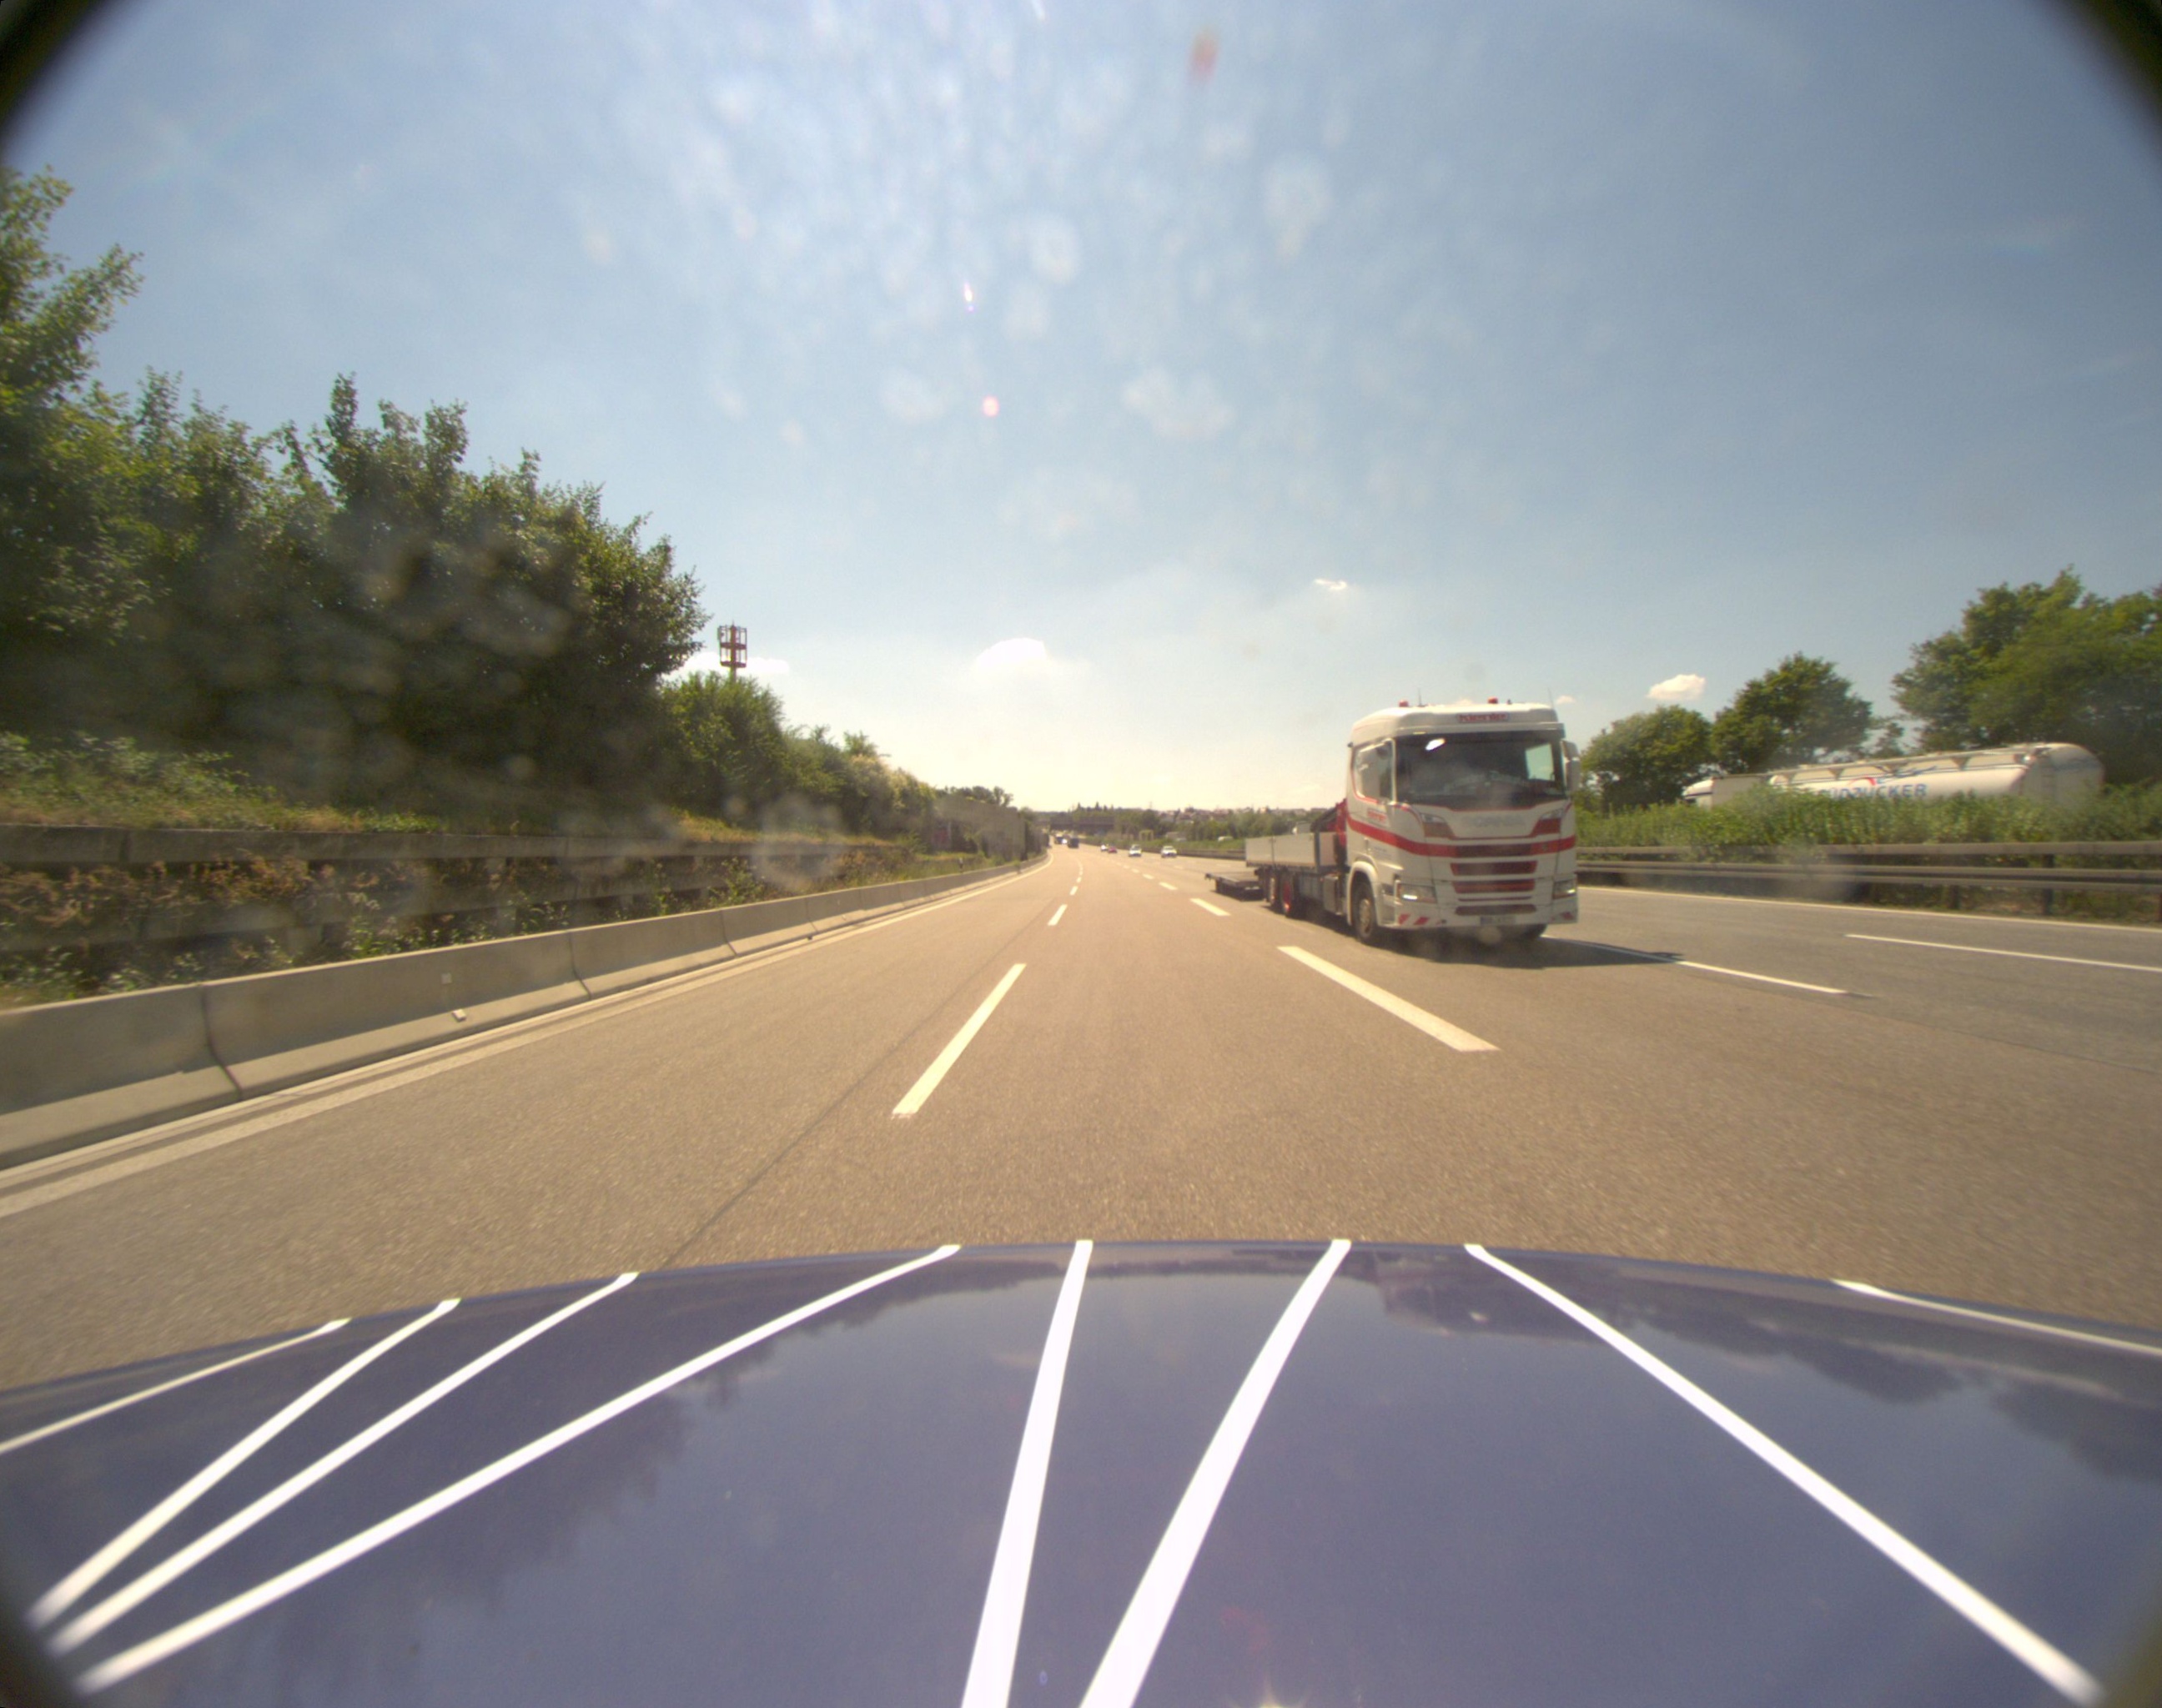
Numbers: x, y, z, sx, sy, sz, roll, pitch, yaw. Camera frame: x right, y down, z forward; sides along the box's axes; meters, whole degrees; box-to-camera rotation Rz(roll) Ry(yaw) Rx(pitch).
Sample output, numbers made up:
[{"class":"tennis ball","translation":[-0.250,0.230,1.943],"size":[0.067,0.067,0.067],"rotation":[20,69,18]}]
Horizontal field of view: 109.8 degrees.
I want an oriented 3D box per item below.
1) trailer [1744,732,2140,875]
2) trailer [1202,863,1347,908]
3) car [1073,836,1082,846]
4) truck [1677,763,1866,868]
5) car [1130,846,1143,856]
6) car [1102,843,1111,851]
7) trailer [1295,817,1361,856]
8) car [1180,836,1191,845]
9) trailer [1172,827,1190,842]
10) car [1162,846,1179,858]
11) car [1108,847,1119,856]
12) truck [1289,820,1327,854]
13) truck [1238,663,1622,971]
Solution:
[{"class":"trailer","translation":[28.104,-1.422,25.928],"size":[2.696,3.866,9.735],"rotation":[-2,0,2]},{"class":"trailer","translation":[5.748,0.887,24.029],"size":[2.721,0.929,7.759],"rotation":[-2,0,1]},{"class":"car","translation":[-1.091,-4.138,243.849],"size":[2.116,3.284,6.440],"rotation":[-2,1,-6]},{"class":"truck","translation":[28.301,-1.451,31.560],"size":[2.701,3.866,5.746],"rotation":[-2,0,2]},{"class":"car","translation":[9.021,-0.479,122.927],"size":[1.786,1.494,4.170],"rotation":[-1,1,0]},{"class":"car","translation":[6.179,-1.709,186.310],"size":[1.999,1.832,3.999],"rotation":[-2,1,-1]},{"class":"trailer","translation":[28.734,-1.980,89.348],"size":[3.400,4.066,13.926],"rotation":[-2,1,1]},{"class":"car","translation":[25.362,-3.370,184.364],"size":[1.999,2.003,3.997],"rotation":[-1,3,-1]},{"class":"trailer","translation":[27.797,-5.282,210.937],"size":[2.545,3.925,13.715],"rotation":[-2,1,-2]},{"class":"car","translation":[12.521,-0.233,106.576],"size":[1.883,1.543,4.000],"rotation":[-2,0,2]},{"class":"car","translation":[6.941,-0.515,163.822],"size":[1.999,1.832,3.999],"rotation":[-2,1,-1]},{"class":"truck","translation":[28.863,-2.094,96.733],"size":[3.341,4.066,4.828],"rotation":[-2,1,1]},{"class":"truck","translation":[5.482,-0.501,14.872],"size":[2.721,3.780,10.671],"rotation":[-2,1,1]}]
